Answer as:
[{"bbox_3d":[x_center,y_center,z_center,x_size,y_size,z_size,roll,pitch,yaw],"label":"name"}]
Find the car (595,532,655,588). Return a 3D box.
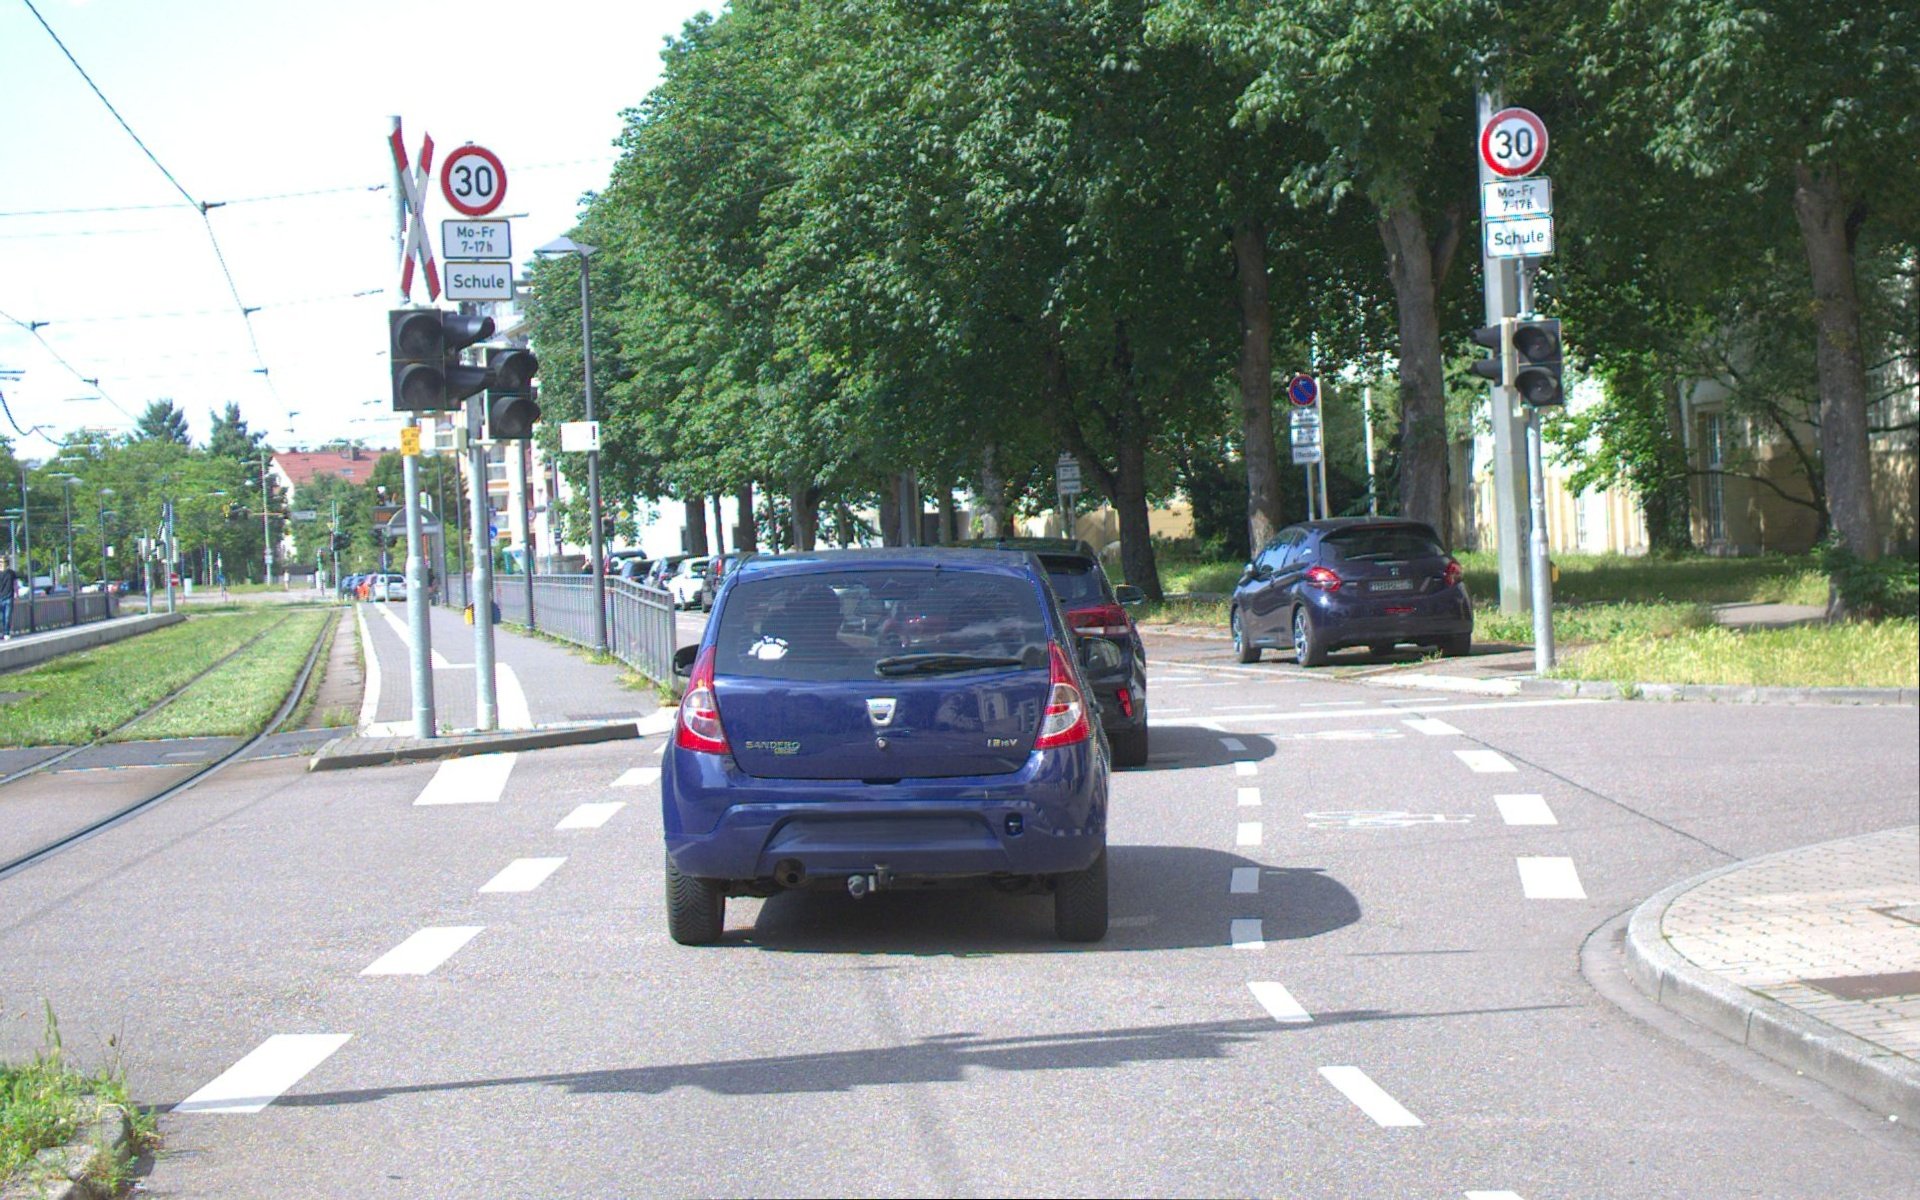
[{"bbox_3d":[-11.350,-1.370,116.772,1.830,1.755,4.001,-3,1,-4],"label":"car"}]

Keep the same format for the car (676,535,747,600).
[{"bbox_3d":[-7.103,-0.935,98.076,1.617,1.744,4.001,-3,1,-9],"label":"car"}]

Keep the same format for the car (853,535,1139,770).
[{"bbox_3d":[0.164,0.287,22.674,1.700,1.363,3.515,-1,2,-2],"label":"car"}]

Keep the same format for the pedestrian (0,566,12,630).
[{"bbox_3d":[-22.303,-0.016,78.541,1.028,1.433,0.703,-5,2,-24],"label":"pedestrian"}]

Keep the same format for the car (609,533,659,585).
[{"bbox_3d":[-11.646,-1.478,122.886,1.667,1.766,4.001,-3,1,-5],"label":"car"}]

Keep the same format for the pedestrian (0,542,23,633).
[{"bbox_3d":[-21.436,-0.276,77.203,0.660,2.007,0.804,-3,1,-14],"label":"pedestrian"}]

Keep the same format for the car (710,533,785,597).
[{"bbox_3d":[-5.572,-0.929,89.830,1.827,1.532,4.001,-4,1,-4],"label":"car"}]

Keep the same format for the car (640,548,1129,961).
[{"bbox_3d":[-0.245,0.535,14.370,1.768,1.457,3.775,0,1,1],"label":"car"}]

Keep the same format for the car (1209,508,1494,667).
[{"bbox_3d":[3.926,-0.147,35.114,1.765,1.428,3.905,-4,1,-10],"label":"car"}]

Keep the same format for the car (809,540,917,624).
[{"bbox_3d":[-1.927,-0.379,67.283,1.861,1.440,4.001,-4,1,-4],"label":"car"}]

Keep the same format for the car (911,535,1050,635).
[{"bbox_3d":[0.298,-0.273,56.027,1.861,1.440,4.001,-4,1,-4],"label":"car"}]

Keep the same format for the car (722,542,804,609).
[{"bbox_3d":[-4.828,-0.613,83.978,1.861,1.440,4.001,-4,2,-4],"label":"car"}]

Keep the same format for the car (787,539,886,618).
[{"bbox_3d":[-2.612,-0.475,71.958,1.851,1.510,4.001,-3,1,-4],"label":"car"}]
